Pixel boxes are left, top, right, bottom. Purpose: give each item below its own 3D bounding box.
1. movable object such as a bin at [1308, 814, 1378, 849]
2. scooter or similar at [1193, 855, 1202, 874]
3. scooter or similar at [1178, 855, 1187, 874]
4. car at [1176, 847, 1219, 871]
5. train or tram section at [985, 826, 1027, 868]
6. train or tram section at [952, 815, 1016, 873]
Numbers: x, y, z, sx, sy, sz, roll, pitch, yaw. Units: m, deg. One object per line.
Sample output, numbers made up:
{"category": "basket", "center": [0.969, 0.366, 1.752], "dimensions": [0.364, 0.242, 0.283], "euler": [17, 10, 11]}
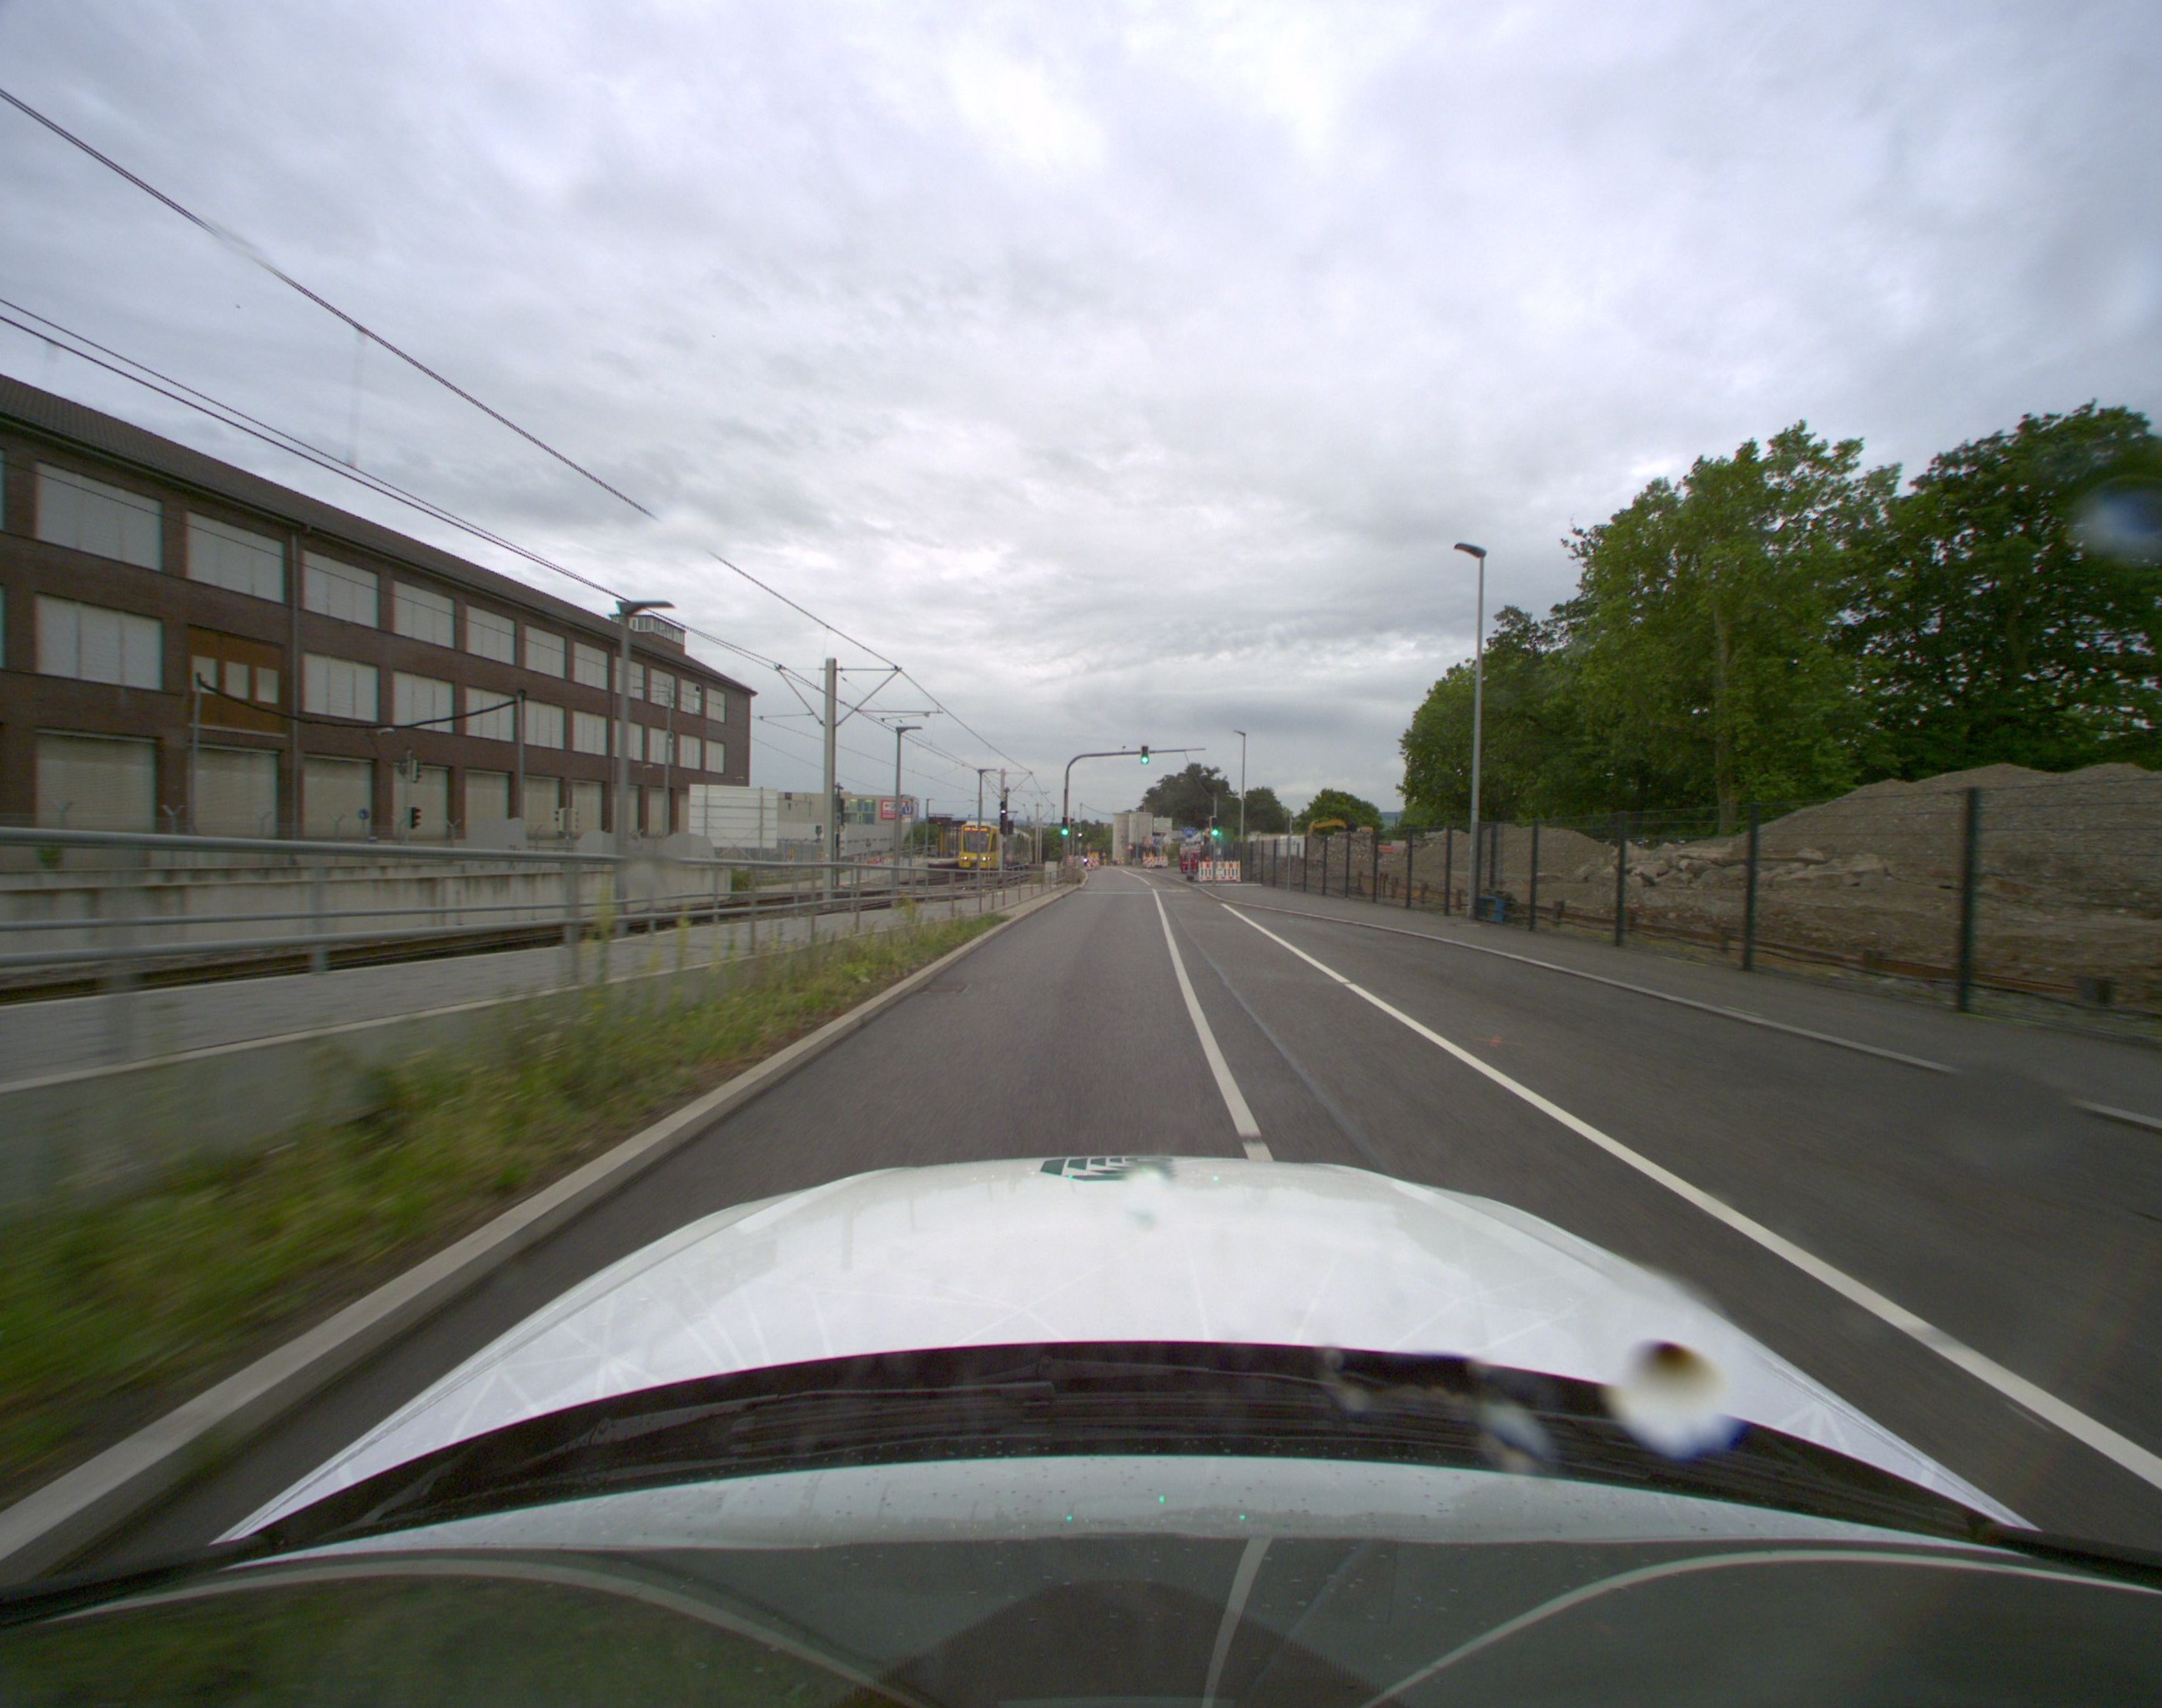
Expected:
{"category": "movable object such as a bin", "center": [45.330, -3.852, 141.401], "dimensions": [11.168, 5.995, 3.499], "euler": [0, -1, 8]}
{"category": "scooter or similar", "center": [8.416, 0.725, 59.039], "dimensions": [0.611, 1.351, 1.916], "euler": [1, 0, 7]}
{"category": "scooter or similar", "center": [7.377, 0.734, 59.033], "dimensions": [0.611, 1.351, 1.916], "euler": [1, 0, 7]}
{"category": "car", "center": [9.286, 0.399, 64.785], "dimensions": [1.802, 1.794, 4.436], "euler": [1, 0, 31]}
{"category": "train or tram section", "center": [-7.584, -0.660, 84.969], "dimensions": [2.947, 3.886, 19.279], "euler": [2, 0, -1]}
{"category": "train or tram section", "center": [-7.405, -0.672, 65.598], "dimensions": [2.946, 3.886, 19.565], "euler": [2, 0, -1]}
